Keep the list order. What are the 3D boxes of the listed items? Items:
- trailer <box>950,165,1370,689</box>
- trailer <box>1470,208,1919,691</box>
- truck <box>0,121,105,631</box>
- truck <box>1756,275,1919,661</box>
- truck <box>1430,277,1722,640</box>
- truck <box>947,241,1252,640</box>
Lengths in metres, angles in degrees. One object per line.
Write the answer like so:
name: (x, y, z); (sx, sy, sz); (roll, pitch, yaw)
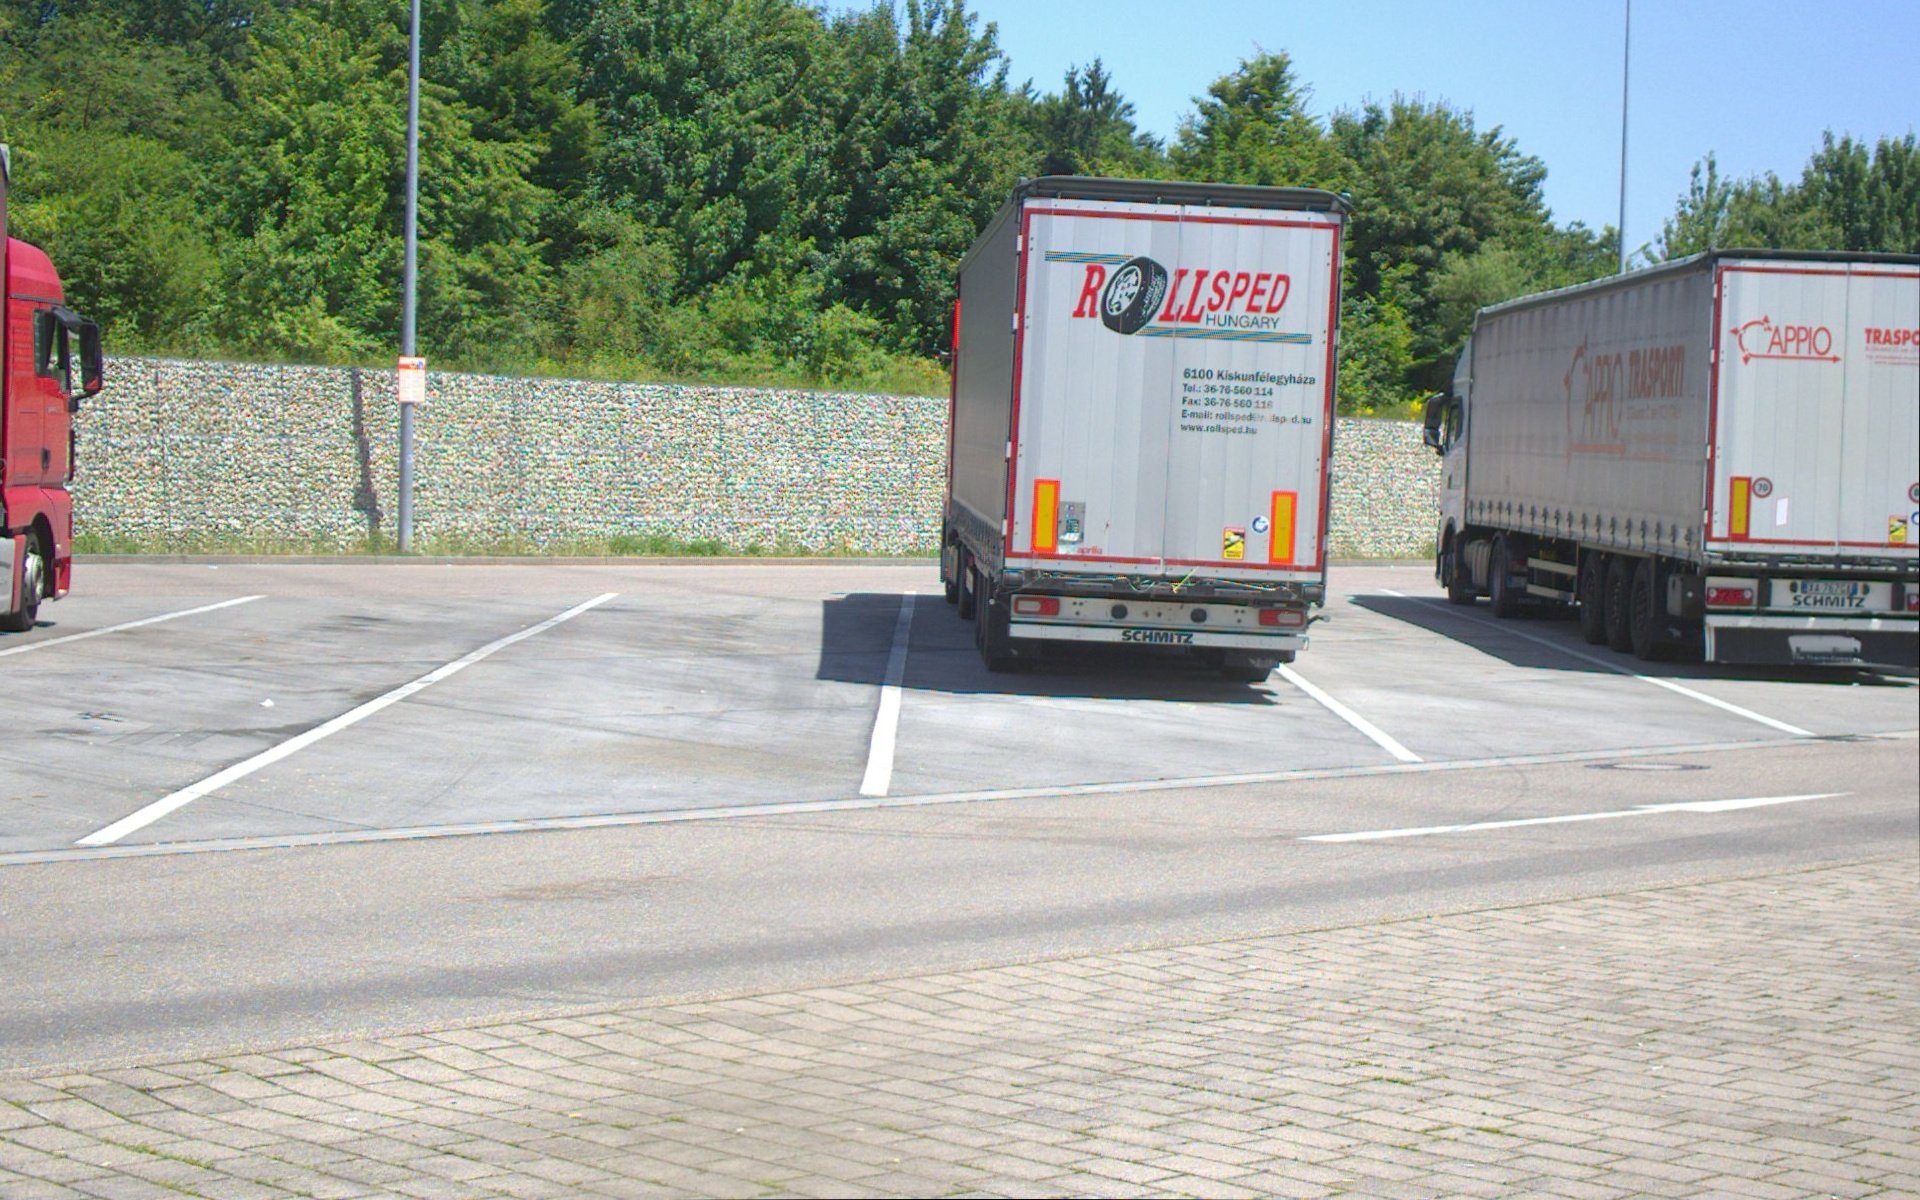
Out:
trailer: (1.524, -1.511, 32.126); (2.897, 4.000, 11.319); (1, 2, -2)
trailer: (8.119, -1.587, 38.178); (2.681, 4.437, 12.831); (1, 2, -1)
truck: (-9.168, -1.839, 28.359); (2.805, 4.119, 5.894); (1, 2, -1)
truck: (11.738, -1.436, 38.687); (2.587, 4.211, 11.971); (1, 1, -1)
truck: (7.986, -1.835, 45.259); (2.661, 4.437, 5.864); (1, 2, -1)
truck: (1.385, -1.695, 37.561); (2.871, 3.967, 6.030); (1, 2, -2)
